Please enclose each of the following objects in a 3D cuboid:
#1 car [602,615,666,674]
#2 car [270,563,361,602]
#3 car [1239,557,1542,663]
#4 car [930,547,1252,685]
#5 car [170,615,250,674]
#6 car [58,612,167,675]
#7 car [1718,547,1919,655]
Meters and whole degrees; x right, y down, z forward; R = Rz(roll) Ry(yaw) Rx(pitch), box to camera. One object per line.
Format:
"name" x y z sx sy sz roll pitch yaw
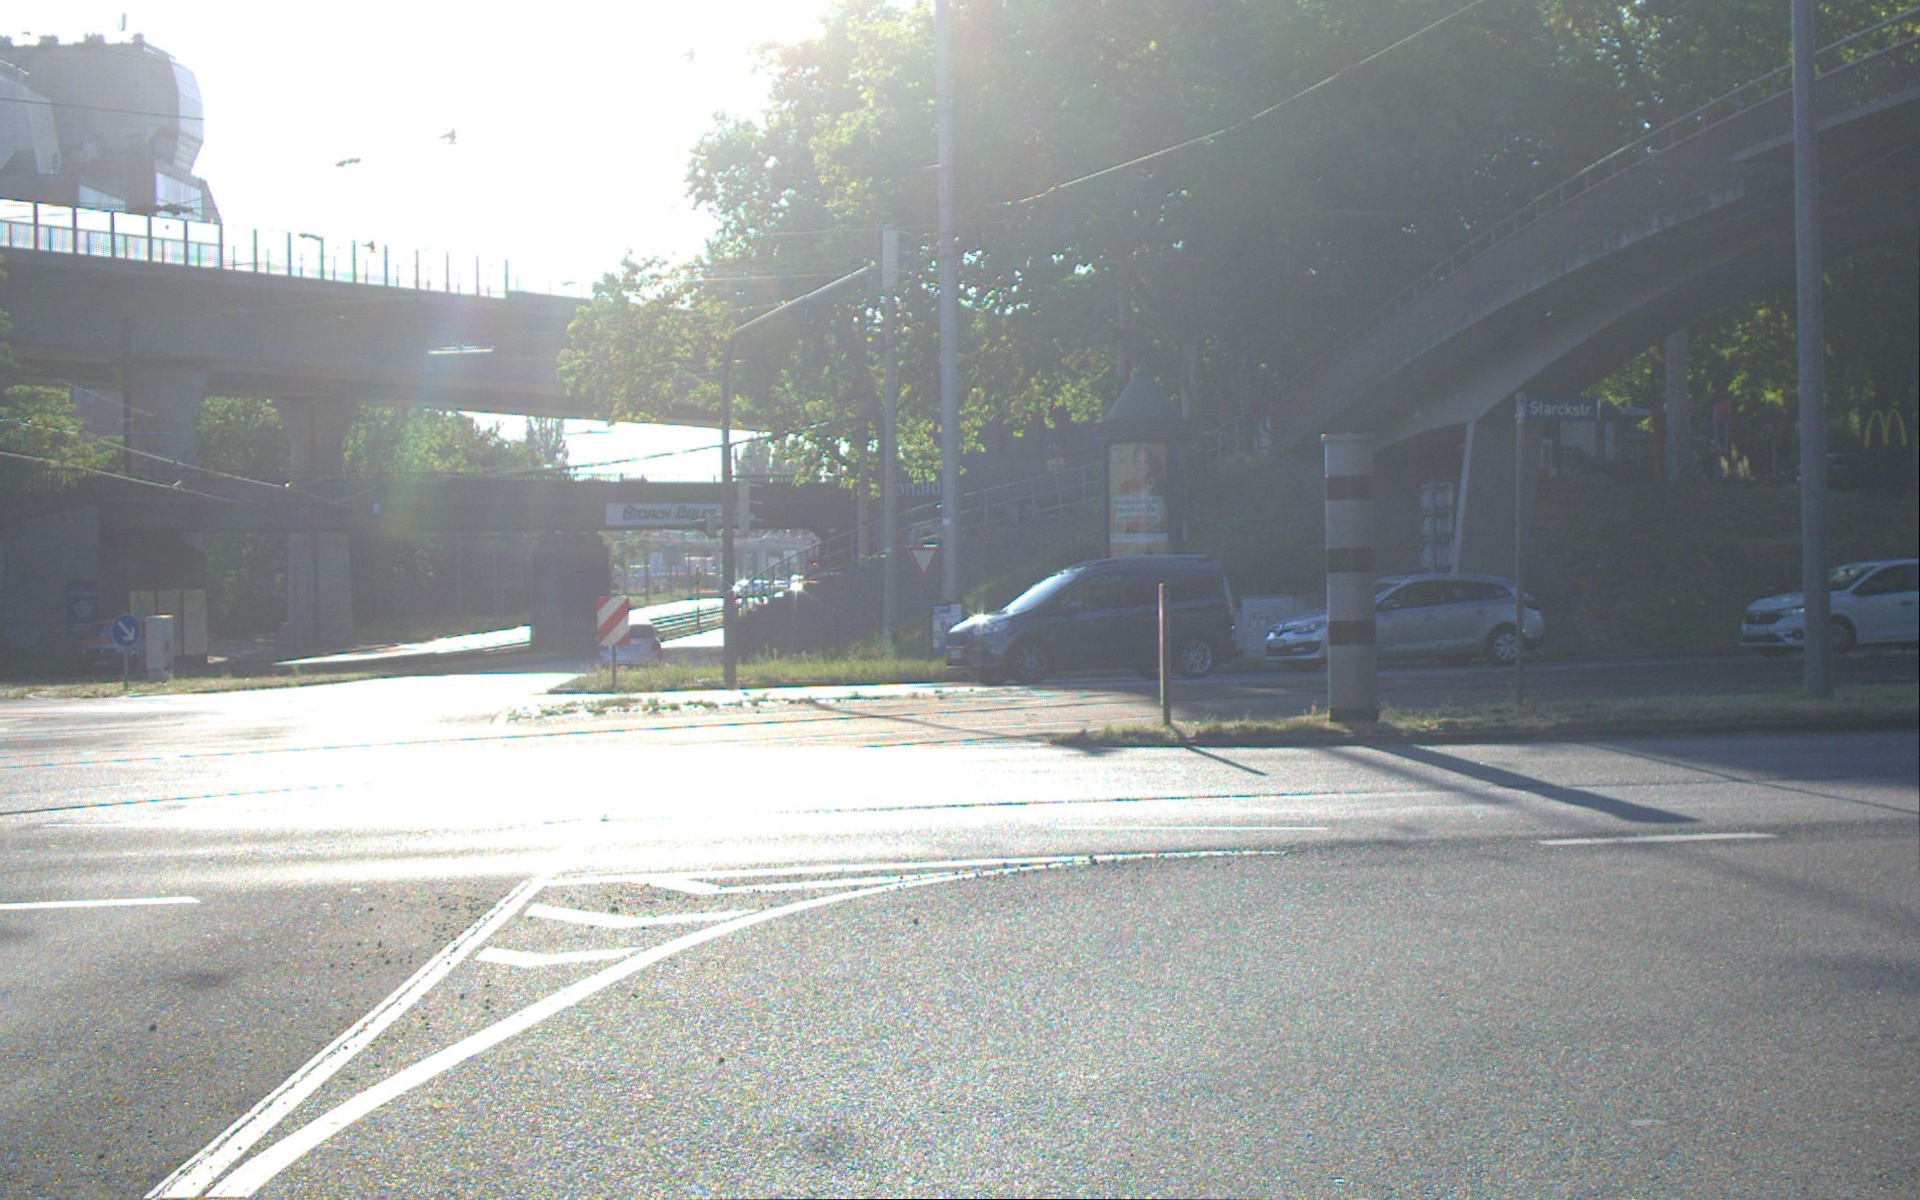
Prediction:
"car" -9.422 1.262 99.483 1.711 1.647 4.220 0 0 -4
"car" -30.235 -0.827 161.349 1.997 1.765 3.993 0 0 32
"car" 6.756 0.139 54.003 4.355 1.603 1.857 0 0 -19
"car" 1.840 0.207 48.404 4.131 1.861 1.857 0 0 -18
"car" -21.838 1.277 100.218 1.711 1.647 4.095 0 0 -4
"car" -29.170 1.473 118.542 1.994 2.007 5.425 -1 0 5
"car" 14.007 0.001 52.772 4.292 1.603 1.857 0 0 -19
